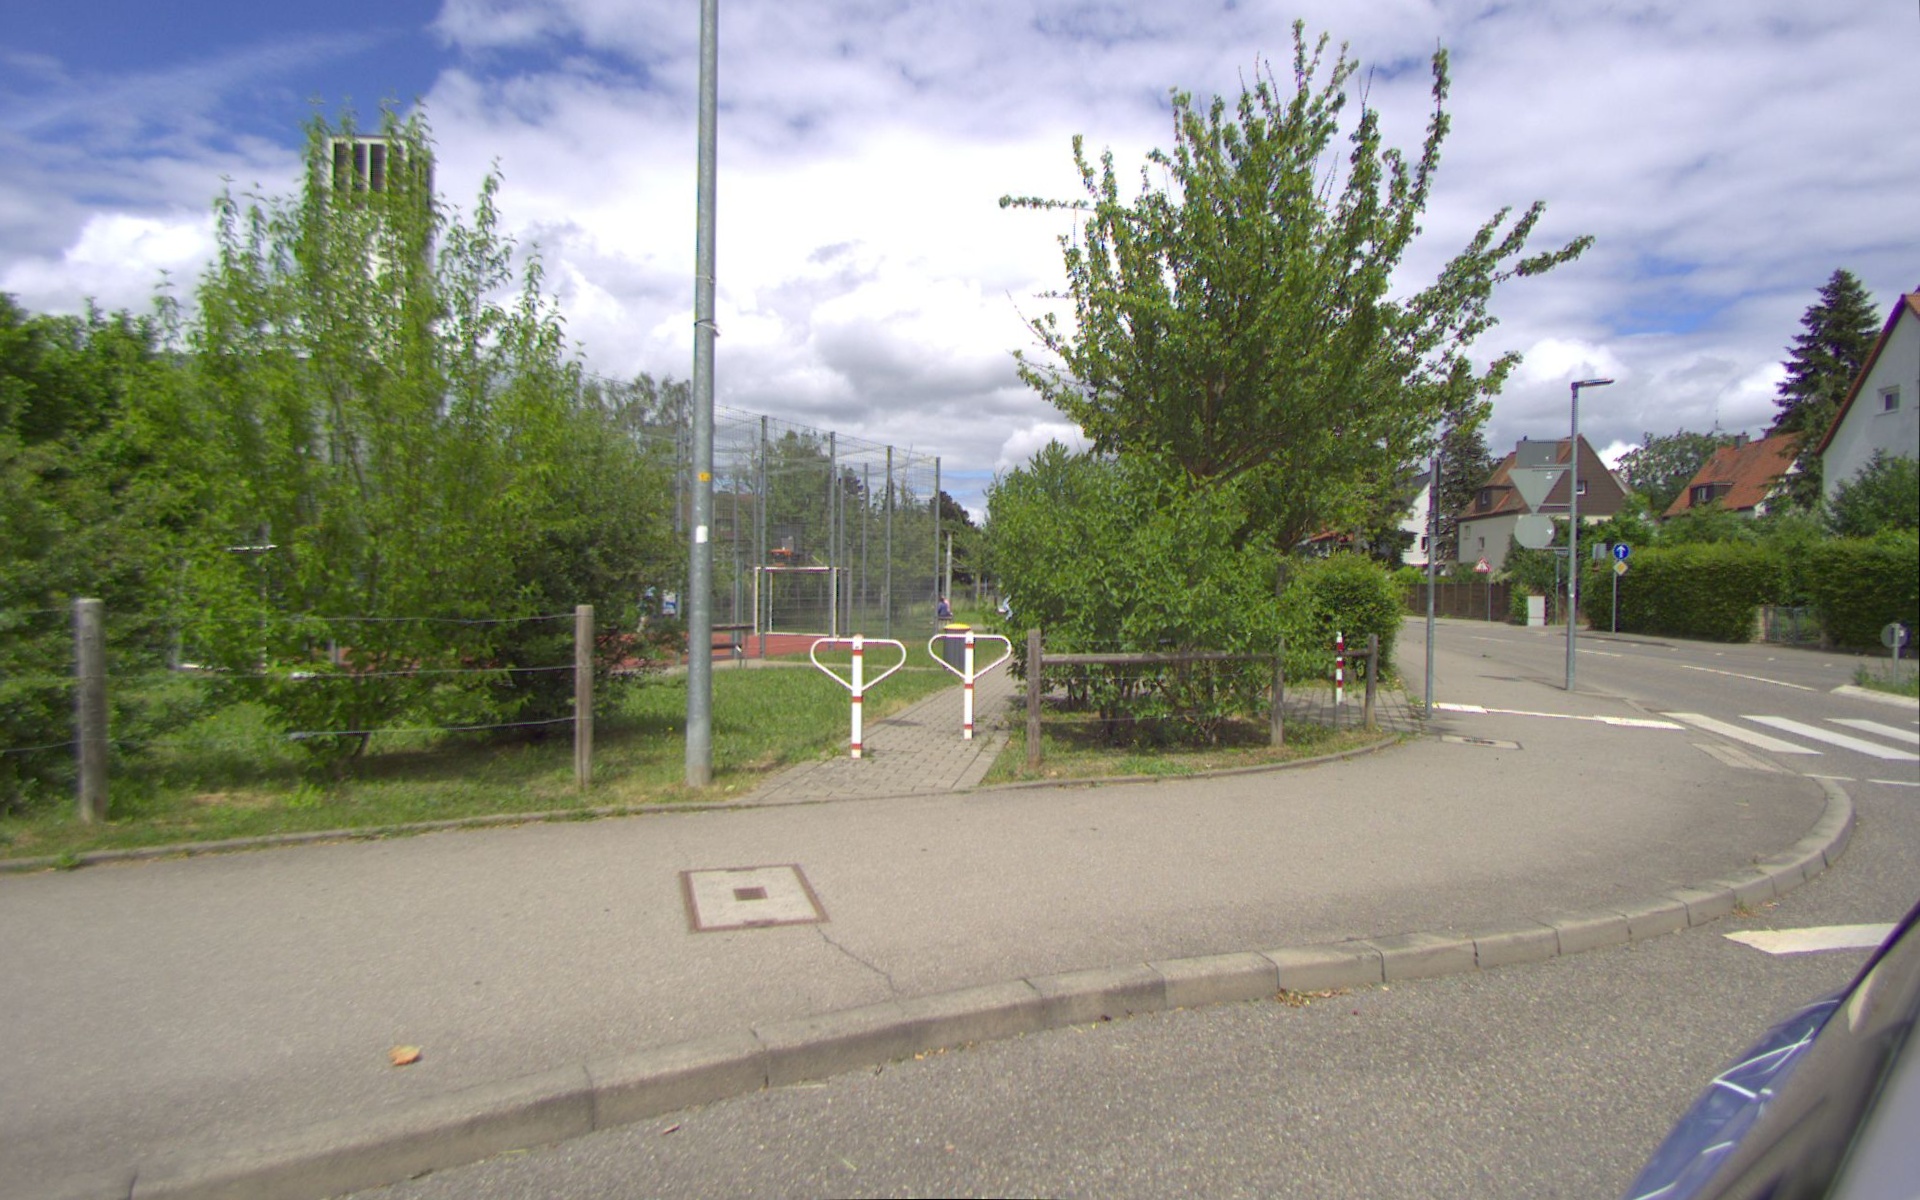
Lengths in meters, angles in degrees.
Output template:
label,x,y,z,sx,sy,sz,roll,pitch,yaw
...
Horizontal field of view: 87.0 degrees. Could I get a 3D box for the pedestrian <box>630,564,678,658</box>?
label,x,y,z,sx,sy,sz,roll,pitch,yaw
pedestrian,-6.191,0.222,20.501,0.547,1.863,0.744,-1,0,28

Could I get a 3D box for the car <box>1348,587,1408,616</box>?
label,x,y,z,sx,sy,sz,roll,pitch,yaw
car,24.071,0.064,58.420,1.966,1.498,4.638,2,1,7

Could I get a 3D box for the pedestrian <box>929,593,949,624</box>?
label,x,y,z,sx,sy,sz,roll,pitch,yaw
pedestrian,-0.899,0.352,42.694,0.559,1.249,0.793,1,1,21

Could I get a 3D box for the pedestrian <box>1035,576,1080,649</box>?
label,x,y,z,sx,sy,sz,roll,pitch,yaw
pedestrian,2.347,0.299,24.473,0.877,1.715,0.933,-1,0,-7

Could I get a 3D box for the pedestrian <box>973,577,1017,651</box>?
label,x,y,z,sx,sy,sz,roll,pitch,yaw
pedestrian,0.829,0.327,24.187,0.877,1.715,0.933,-1,0,-7
